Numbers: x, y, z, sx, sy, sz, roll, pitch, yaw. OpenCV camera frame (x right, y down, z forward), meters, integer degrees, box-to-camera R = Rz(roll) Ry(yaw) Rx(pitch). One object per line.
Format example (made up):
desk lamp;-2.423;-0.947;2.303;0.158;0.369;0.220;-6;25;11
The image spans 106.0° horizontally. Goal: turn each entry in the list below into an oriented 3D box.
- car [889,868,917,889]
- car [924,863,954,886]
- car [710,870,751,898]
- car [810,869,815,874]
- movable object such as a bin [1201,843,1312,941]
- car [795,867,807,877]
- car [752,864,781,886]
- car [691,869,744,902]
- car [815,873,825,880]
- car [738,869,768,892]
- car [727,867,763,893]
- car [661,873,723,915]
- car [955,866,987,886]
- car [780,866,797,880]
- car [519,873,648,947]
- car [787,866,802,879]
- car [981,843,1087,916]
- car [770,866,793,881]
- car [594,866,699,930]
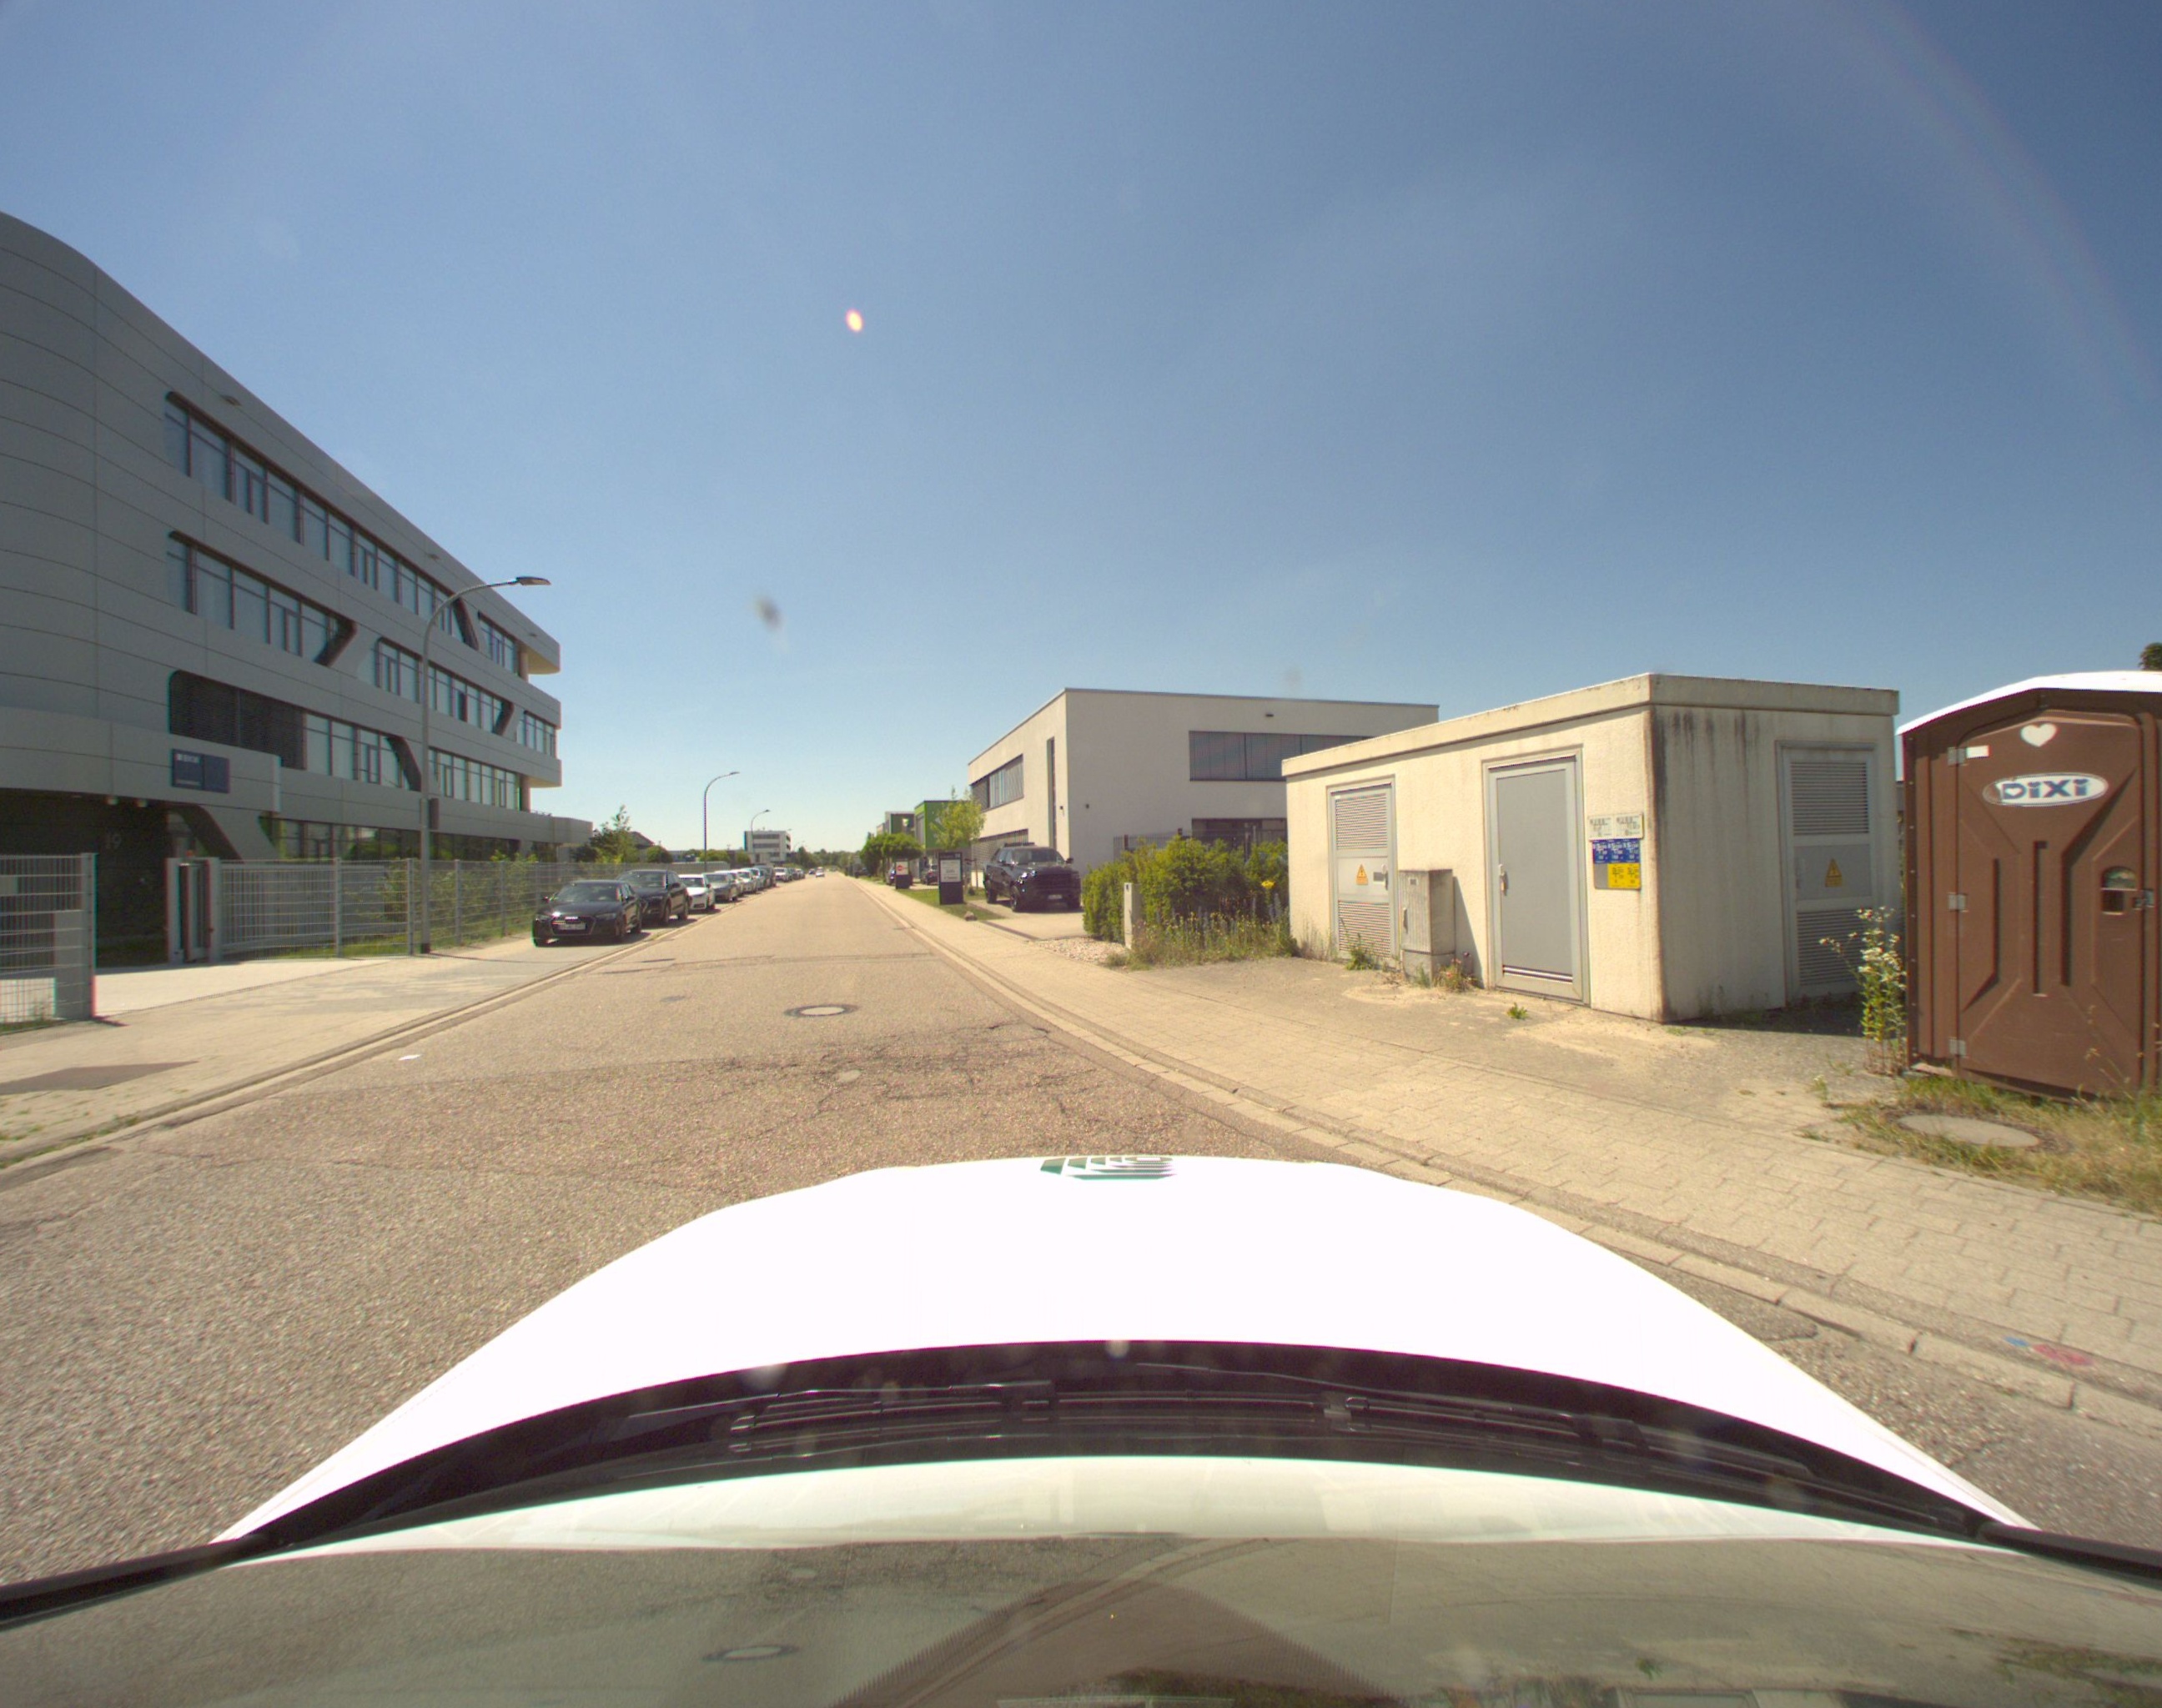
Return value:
car;-13.249;1.769;60.340;1.696;1.428;4.221;-1;-1;-17
car;-10.669;1.495;60.972;1.727;1.633;3.999;-1;-1;-17
car;-19.685;1.672;45.836;1.707;1.444;4.412;0;-1;-18
car;-77.069;4.978;233.779;1.470;1.490;3.189;-1;-1;-17
movable object such as a bin;2.946;0.611;13.769;1.387;1.523;1.163;-2;0;-18
car;-45.855;3.029;133.627;1.774;1.592;4.332;0;-1;-18
car;-25.203;1.636;65.338;1.807;1.720;4.595;0;-1;-17
car;-17.502;1.492;39.382;1.688;1.386;4.613;-1;0;-16
car;-54.950;4.693;171.380;1.710;1.411;4.752;-3;1;-20
car;-22.463;1.783;55.921;1.639;1.536;3.635;0;-1;-18
car;-20.775;1.586;50.503;1.707;1.536;4.544;0;-1;-18
car;-14.744;1.473;31.014;1.705;1.386;3.911;-1;0;-20
car;-8.279;1.621;61.057;1.727;1.449;3.999;-1;-1;-17
car;-34.707;2.258;96.680;1.767;1.517;4.353;0;-1;-17
car;-11.820;1.248;19.632;1.775;1.466;4.159;-1;0;-19
car;-38.552;2.480;109.628;1.795;1.607;4.435;0;-1;-18
car;-1.690;0.691;26.721;1.999;2.013;5.764;-2;2;-18
car;-31.023;2.024;84.493;1.790;1.542;4.341;-1;-1;-15
car;-13.245;1.261;25.126;1.773;1.651;4.825;-1;0;-15
